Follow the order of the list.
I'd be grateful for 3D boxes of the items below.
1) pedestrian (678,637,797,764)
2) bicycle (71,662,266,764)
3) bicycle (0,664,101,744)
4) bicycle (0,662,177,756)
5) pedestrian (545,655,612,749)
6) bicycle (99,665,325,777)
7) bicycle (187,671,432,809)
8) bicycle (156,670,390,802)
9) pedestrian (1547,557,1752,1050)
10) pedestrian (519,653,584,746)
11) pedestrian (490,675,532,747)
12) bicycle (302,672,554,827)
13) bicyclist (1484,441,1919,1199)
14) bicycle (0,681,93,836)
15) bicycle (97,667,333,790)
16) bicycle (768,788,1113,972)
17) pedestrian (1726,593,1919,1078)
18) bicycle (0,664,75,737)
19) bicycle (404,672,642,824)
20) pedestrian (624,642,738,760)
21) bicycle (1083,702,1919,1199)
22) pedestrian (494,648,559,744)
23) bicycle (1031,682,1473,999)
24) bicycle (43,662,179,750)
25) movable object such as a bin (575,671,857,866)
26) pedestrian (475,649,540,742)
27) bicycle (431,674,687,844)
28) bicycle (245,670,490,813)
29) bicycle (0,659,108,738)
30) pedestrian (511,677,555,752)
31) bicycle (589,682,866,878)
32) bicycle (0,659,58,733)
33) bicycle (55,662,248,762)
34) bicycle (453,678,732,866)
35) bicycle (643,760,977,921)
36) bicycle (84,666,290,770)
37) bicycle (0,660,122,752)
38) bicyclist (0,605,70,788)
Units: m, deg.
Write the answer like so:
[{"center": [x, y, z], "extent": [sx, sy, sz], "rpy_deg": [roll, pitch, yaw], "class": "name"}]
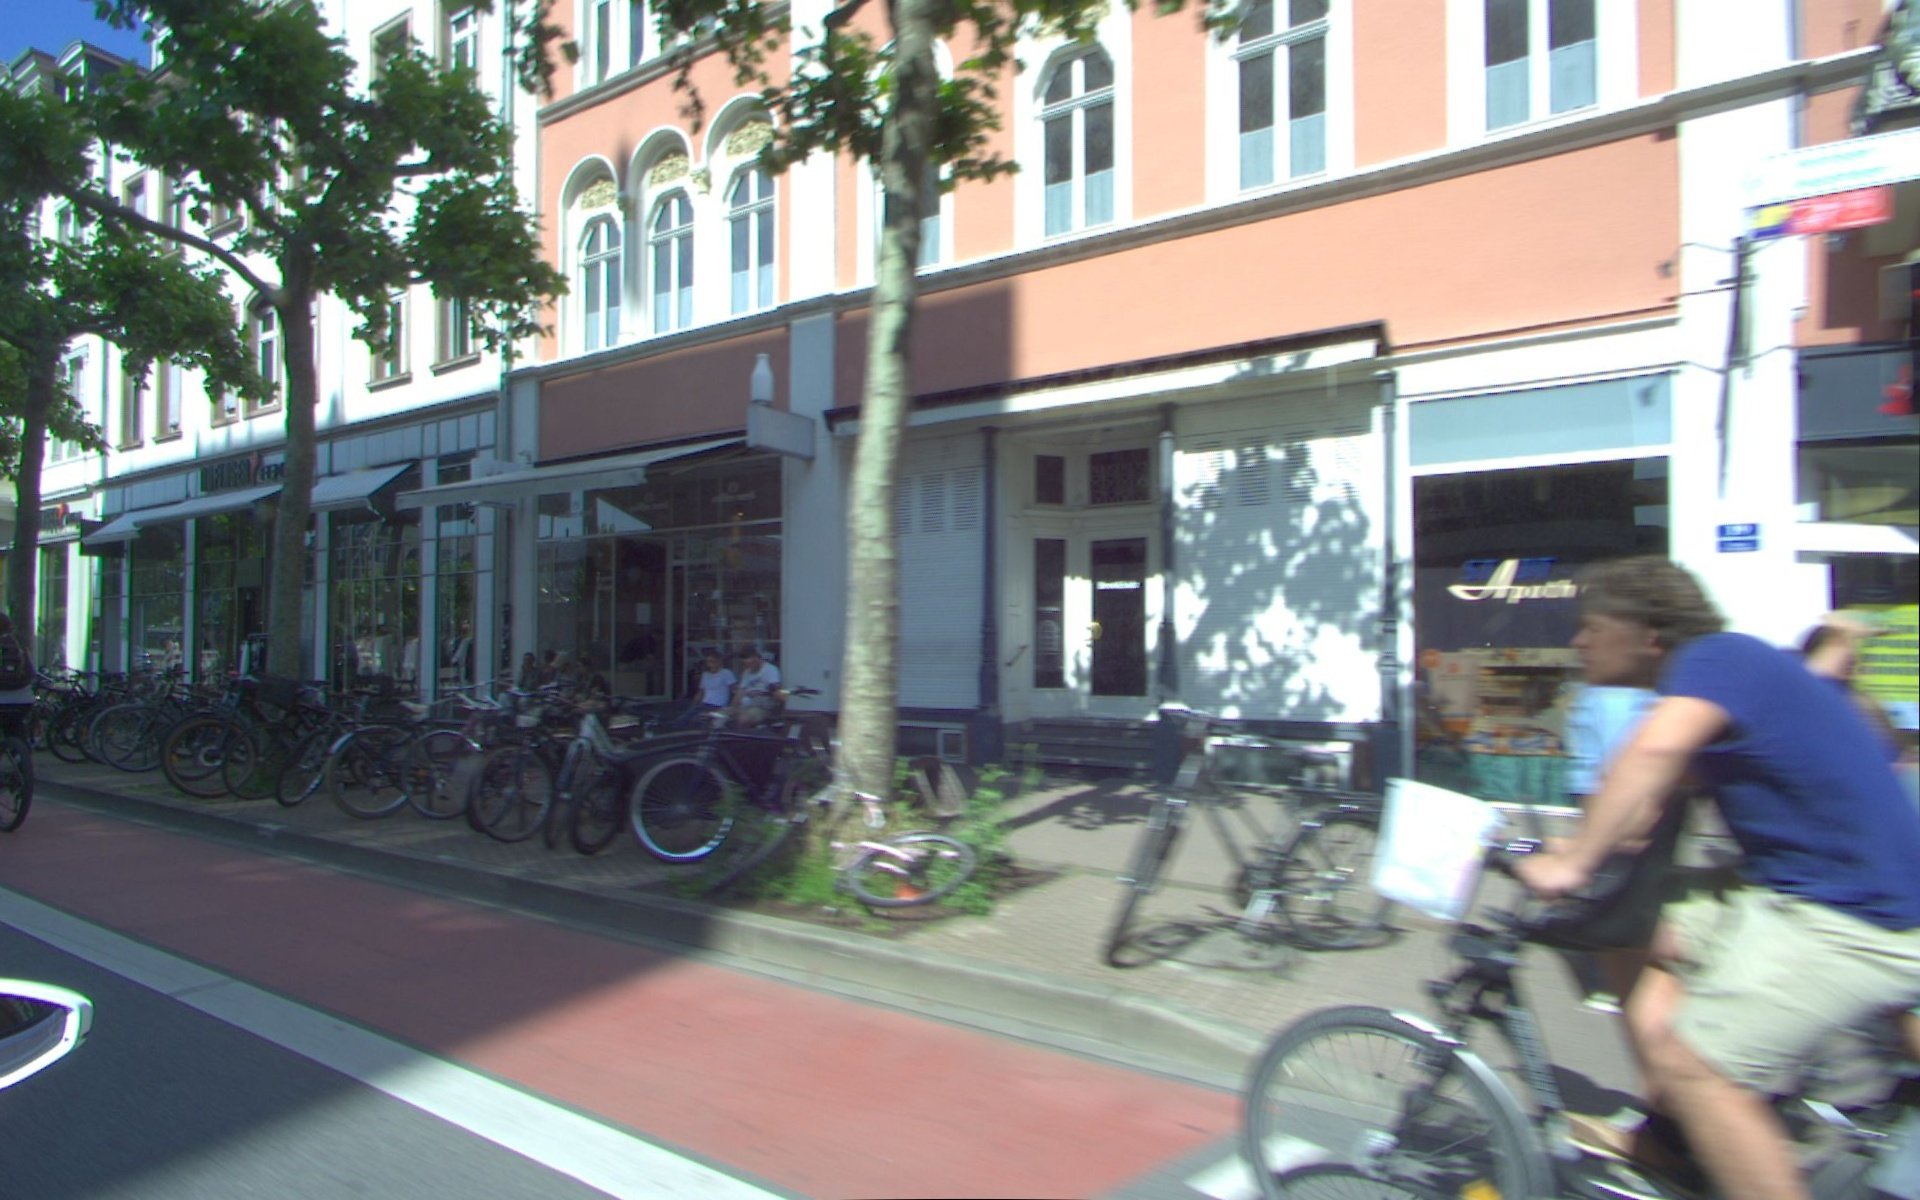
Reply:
[{"center": [-2.778, 1.233, 12.594], "extent": [0.825, 1.502, 1.251], "rpy_deg": [-1, -3, 29], "class": "pedestrian"}, {"center": [-9.707, 1.352, 12.358], "extent": [0.442, 1.141, 1.836], "rpy_deg": [-2, -3, 34], "class": "bicycle"}, {"center": [-13.414, 1.456, 14.130], "extent": [0.556, 1.106, 1.838], "rpy_deg": [-1, -4, 32], "class": "bicycle"}, {"center": [-11.358, 1.382, 12.988], "extent": [1.820, 1.141, 0.446], "rpy_deg": [1, -3, -30], "class": "bicycle"}, {"center": [-5.369, 1.416, 14.102], "extent": [0.599, 1.269, 0.638], "rpy_deg": [-2, -1, 30], "class": "pedestrian"}, {"center": [-8.509, 1.328, 11.458], "extent": [0.754, 1.141, 1.974], "rpy_deg": [-3, -4, 44], "class": "bicycle"}, {"center": [-6.104, 1.262, 9.511], "extent": [0.657, 1.141, 1.836], "rpy_deg": [-2, -3, 34], "class": "bicycle"}, {"center": [-6.693, 1.278, 9.860], "extent": [0.523, 1.141, 1.836], "rpy_deg": [-2, -3, 34], "class": "bicycle"}, {"center": [2.847, 0.775, 4.216], "extent": [0.631, 1.817, 0.787], "rpy_deg": [0, -3, 30], "class": "pedestrian"}, {"center": [-5.873, 1.407, 14.408], "extent": [0.524, 1.269, 0.680], "rpy_deg": [0, -1, 30], "class": "pedestrian"}, {"center": [-6.305, 1.547, 14.058], "extent": [0.431, 0.980, 0.340], "rpy_deg": [-1, -2, 34], "class": "pedestrian"}, {"center": [-4.503, 1.215, 8.616], "extent": [0.635, 1.141, 1.836], "rpy_deg": [-2, -3, 34], "class": "bicycle"}, {"center": [1.516, 0.608, 2.040], "extent": [0.763, 1.695, 0.730], "rpy_deg": [-1, -1, 29], "class": "bicyclist"}, {"center": [-8.087, 1.255, 8.268], "extent": [2.050, 1.140, 0.698], "rpy_deg": [-1, -4, 29], "class": "bicycle"}, {"center": [-7.678, 1.280, 10.415], "extent": [0.670, 1.141, 1.836], "rpy_deg": [-1, -3, 34], "class": "bicycle"}, {"center": [-0.061, 1.620, 5.936], "extent": [1.823, 0.440, 1.137], "rpy_deg": [-9, 6, 7], "class": "bicycle"}, {"center": [3.498, 0.857, 3.956], "extent": [0.631, 1.711, 0.787], "rpy_deg": [0, -3, 30], "class": "pedestrian"}, {"center": [-14.730, 1.520, 15.213], "extent": [0.555, 1.106, 1.844], "rpy_deg": [0, -4, 21], "class": "bicycle"}, {"center": [-3.735, 1.215, 8.721], "extent": [0.657, 1.141, 1.836], "rpy_deg": [-2, -3, 34], "class": "bicycle"}, {"center": [-3.577, 1.265, 12.917], "extent": [0.778, 1.440, 1.232], "rpy_deg": [-2, -2, 29], "class": "pedestrian"}, {"center": [1.453, 0.930, 2.105], "extent": [2.247, 1.284, 0.732], "rpy_deg": [1, -3, 29], "class": "bicycle"}, {"center": [-6.341, 1.391, 14.672], "extent": [0.524, 1.355, 0.680], "rpy_deg": [0, -2, 30], "class": "pedestrian"}, {"center": [1.336, 1.048, 4.588], "extent": [1.826, 1.203, 0.715], "rpy_deg": [5, -3, -20], "class": "bicycle"}, {"center": [-11.838, 1.445, 14.039], "extent": [0.439, 1.141, 1.847], "rpy_deg": [-1, -3, -5], "class": "bicycle"}, {"center": [-1.683, 1.138, 7.152], "extent": [1.839, 1.203, 0.647], "rpy_deg": [5, -5, -43], "class": "movable object such as a bin"}, {"center": [-6.795, 1.415, 15.056], "extent": [0.524, 1.349, 0.681], "rpy_deg": [0, -2, 30], "class": "pedestrian"}, {"center": [-3.100, 1.177, 7.932], "extent": [0.657, 1.141, 1.836], "rpy_deg": [-2, -3, 34], "class": "bicycle"}, {"center": [-5.363, 1.230, 9.188], "extent": [0.657, 1.141, 1.836], "rpy_deg": [-2, -3, 34], "class": "bicycle"}, {"center": [-14.040, 1.468, 14.939], "extent": [0.752, 1.140, 1.845], "rpy_deg": [-1, -5, 19], "class": "bicycle"}, {"center": [-5.805, 1.542, 13.619], "extent": [0.431, 0.980, 0.364], "rpy_deg": [-1, -2, 34], "class": "pedestrian"}, {"center": [-1.475, 1.138, 6.660], "extent": [1.829, 1.140, 0.342], "rpy_deg": [5, -4, -43], "class": "bicycle"}, {"center": [-15.197, 1.463, 15.395], "extent": [0.621, 1.140, 1.844], "rpy_deg": [-1, -5, 21], "class": "bicycle"}, {"center": [-10.099, 1.362, 12.585], "extent": [0.442, 1.141, 1.836], "rpy_deg": [-2, -3, 34], "class": "bicycle"}, {"center": [-2.604, 1.163, 7.288], "extent": [0.659, 1.141, 1.833], "rpy_deg": [-2, -3, 39], "class": "bicycle"}, {"center": [-0.849, 1.484, 6.167], "extent": [1.020, 0.395, 1.850], "rpy_deg": [-40, -31, 23], "class": "bicycle"}, {"center": [-9.095, 1.369, 11.847], "extent": [0.525, 1.140, 1.831], "rpy_deg": [-3, -6, 44], "class": "bicycle"}, {"center": [-12.275, 1.387, 13.434], "extent": [0.582, 1.141, 1.847], "rpy_deg": [-1, -3, -4], "class": "bicycle"}, {"center": [-8.043, 0.783, 8.268], "extent": [0.946, 1.463, 0.698], "rpy_deg": [-1, -4, 29], "class": "bicyclist"}]
